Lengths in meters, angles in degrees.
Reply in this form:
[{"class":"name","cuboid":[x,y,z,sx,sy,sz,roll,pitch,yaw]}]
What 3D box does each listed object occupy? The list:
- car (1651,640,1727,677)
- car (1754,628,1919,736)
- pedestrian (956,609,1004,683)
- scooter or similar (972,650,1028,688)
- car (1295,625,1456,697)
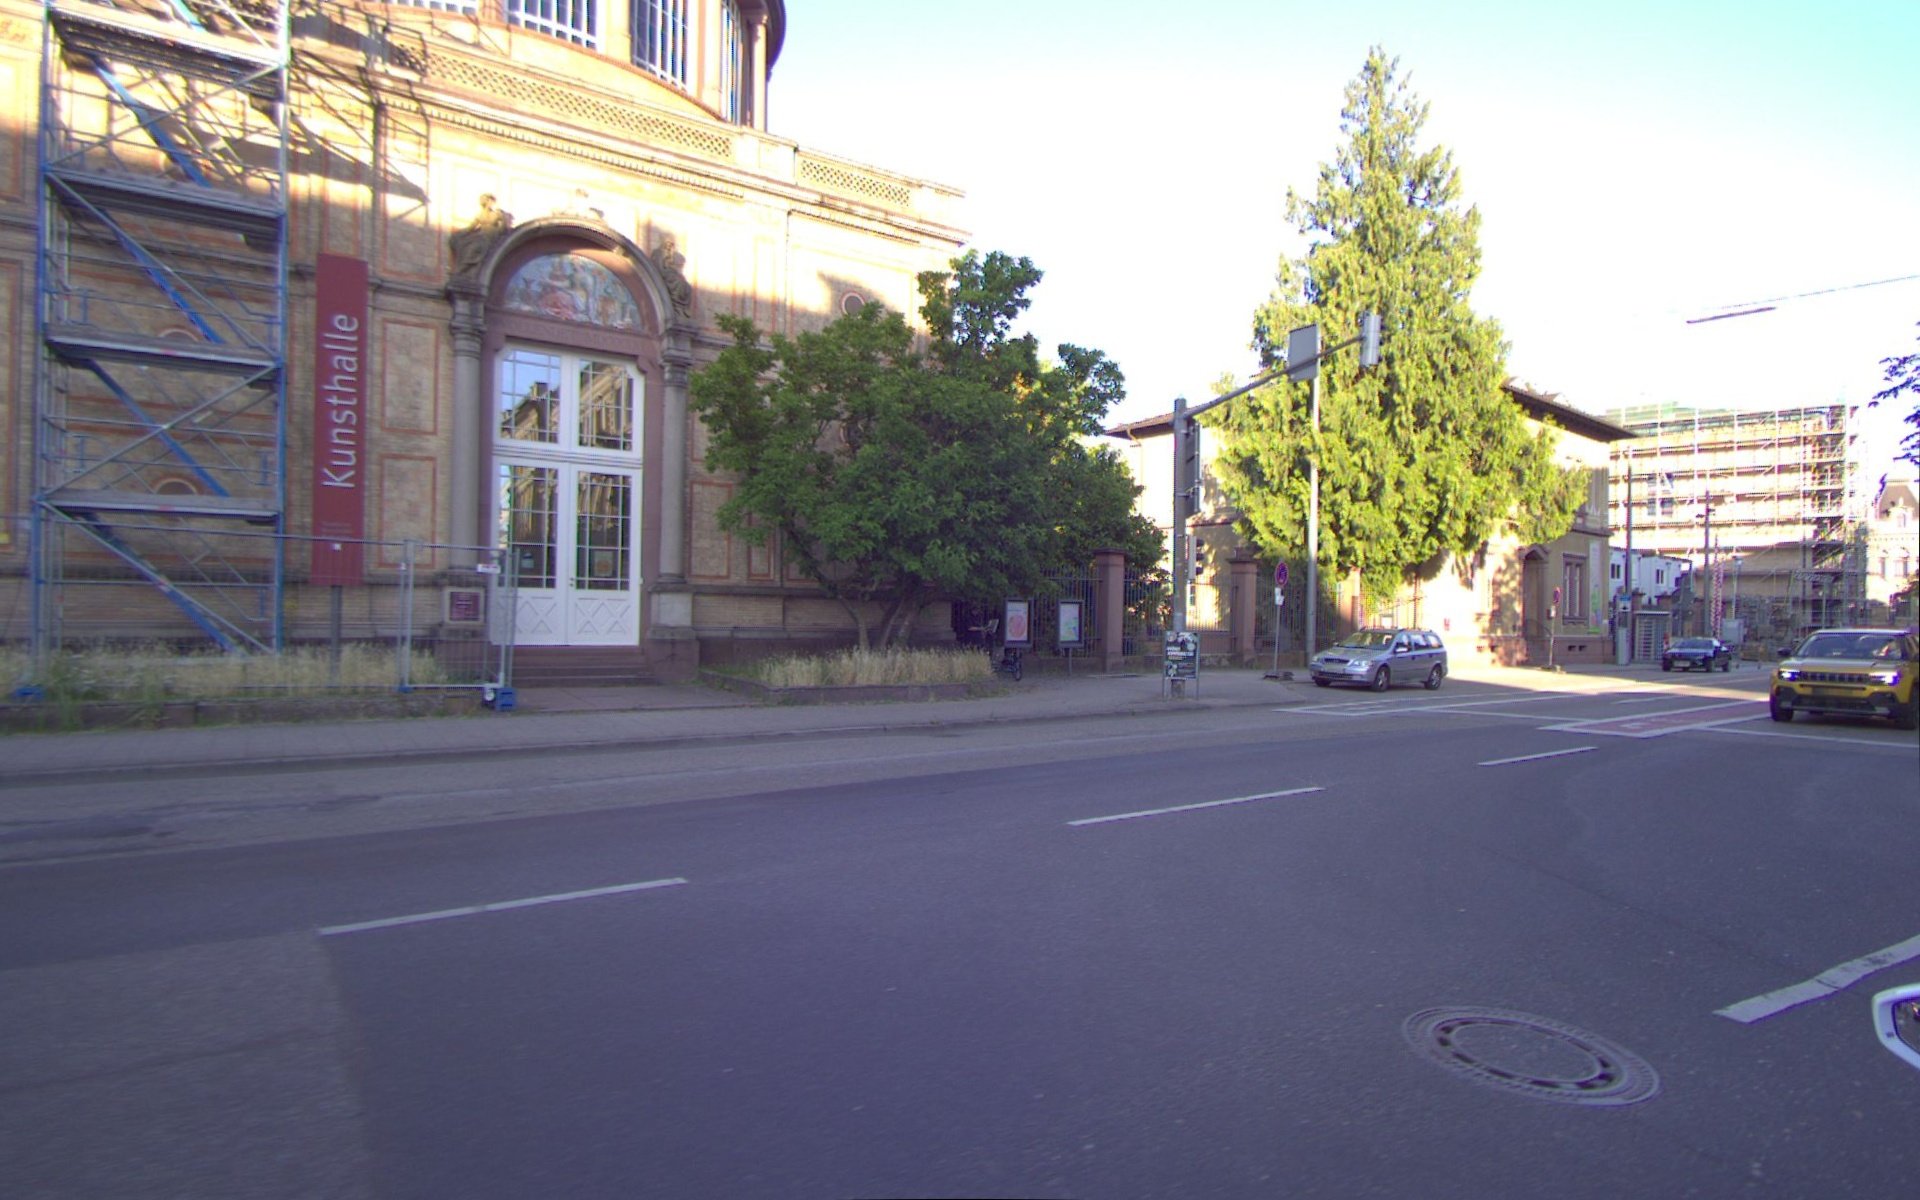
[{"class":"car","cuboid":[29.315,2.325,40.364,3.857,1.369,1.665,2,-3,-41]},{"class":"car","cuboid":[15.032,1.294,16.948,4.086,1.568,1.830,2,-2,-40]},{"class":"pedestrian","cuboid":[0.441,1.015,22.300,0.755,1.600,0.730,1,-1,-36]},{"class":"scooter or similar","cuboid":[0.868,1.481,21.701,1.019,0.788,0.673,2,-1,-36]},{"class":"car","cuboid":[10.251,1.450,24.668,4.331,1.568,1.731,2,0,-38]}]
